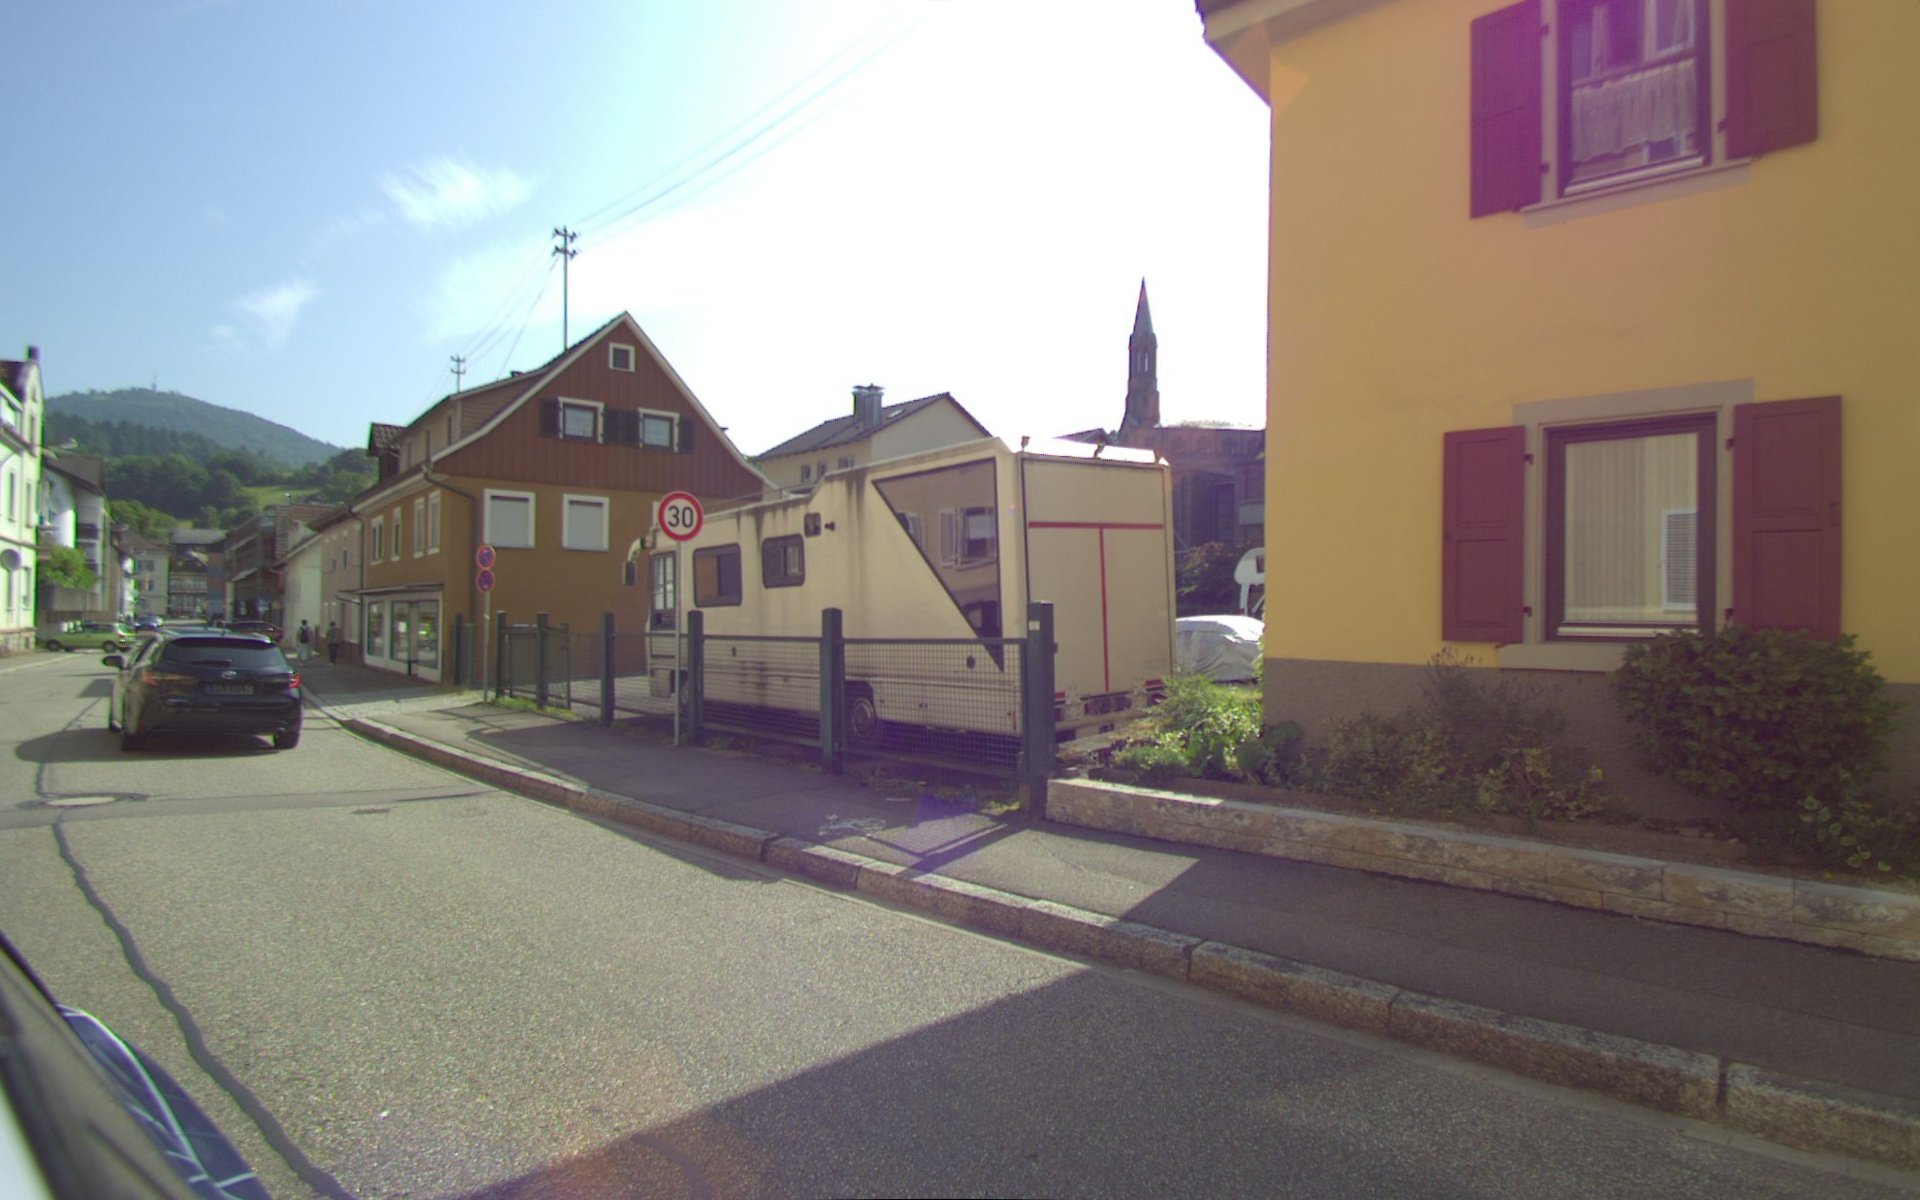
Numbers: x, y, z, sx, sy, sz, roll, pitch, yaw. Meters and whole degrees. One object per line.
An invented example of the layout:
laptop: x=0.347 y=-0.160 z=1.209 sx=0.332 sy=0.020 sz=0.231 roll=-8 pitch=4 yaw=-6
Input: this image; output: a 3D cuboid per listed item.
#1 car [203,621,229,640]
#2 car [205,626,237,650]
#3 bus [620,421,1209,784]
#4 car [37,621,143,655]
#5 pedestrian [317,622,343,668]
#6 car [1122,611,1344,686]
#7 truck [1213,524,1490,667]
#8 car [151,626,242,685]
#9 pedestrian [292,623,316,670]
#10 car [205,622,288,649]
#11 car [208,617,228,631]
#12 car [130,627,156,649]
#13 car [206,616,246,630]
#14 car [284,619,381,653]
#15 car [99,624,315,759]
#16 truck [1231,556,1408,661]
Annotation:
car: x=-65.680 y=2.687 z=89.312 sx=1.653 sy=1.567 sz=3.771 roll=0 pitch=-2 yaw=-39
car: x=-57.344 y=2.926 z=78.530 sx=1.698 sy=1.810 sz=4.276 roll=2 pitch=-2 yaw=-40
bus: x=-1.348 y=0.088 z=13.425 sx=2.785 sy=3.252 sz=9.050 roll=-2 pitch=0 yaw=-40
car: x=-43.252 y=1.922 z=50.392 sx=3.597 sy=1.475 sz=1.606 roll=4 pitch=-4 yaw=-17
pedestrian: x=-22.496 y=1.595 z=36.130 sx=0.725 sy=1.576 sz=0.826 roll=-1 pitch=-1 yaw=-37
car: x=5.284 y=0.937 z=19.985 sx=1.574 sy=1.278 sz=4.006 roll=-2 pitch=-1 yaw=-41
truck: x=9.353 y=-0.003 z=24.521 sx=5.736 sy=3.082 sz=2.381 roll=-3 pitch=-2 yaw=41
car: x=-21.315 y=1.515 z=28.186 sx=1.725 sy=1.464 sz=4.034 roll=6 pitch=-5 yaw=-40
pedestrian: x=-23.152 y=1.633 z=35.703 sx=0.631 sy=1.638 sz=0.779 roll=-1 pitch=-1 yaw=-36
car: x=-44.750 y=2.221 z=63.575 sx=3.930 sy=1.675 sz=1.829 roll=1 pitch=-3 yaw=-24
car: x=-90.194 y=2.947 z=122.969 sx=1.759 sy=1.587 sz=3.896 roll=-2 pitch=0 yaw=-39
car: x=-81.722 y=3.787 z=101.218 sx=1.969 sy=2.029 sz=4.006 roll=0 pitch=-1 yaw=-41
car: x=-94.663 y=2.952 z=130.569 sx=1.835 sy=1.697 sz=3.943 roll=-3 pitch=-4 yaw=43
car: x=-31.853 y=1.788 z=51.404 sx=3.937 sy=1.606 sz=1.910 roll=0 pitch=-1 yaw=-40
car: x=-9.827 y=1.086 z=13.078 sx=1.639 sy=1.460 sz=4.262 roll=6 pitch=-5 yaw=-43
truck: x=9.861 y=0.259 z=27.908 sx=4.078 sy=2.672 sz=1.933 roll=-3 pitch=-1 yaw=41
